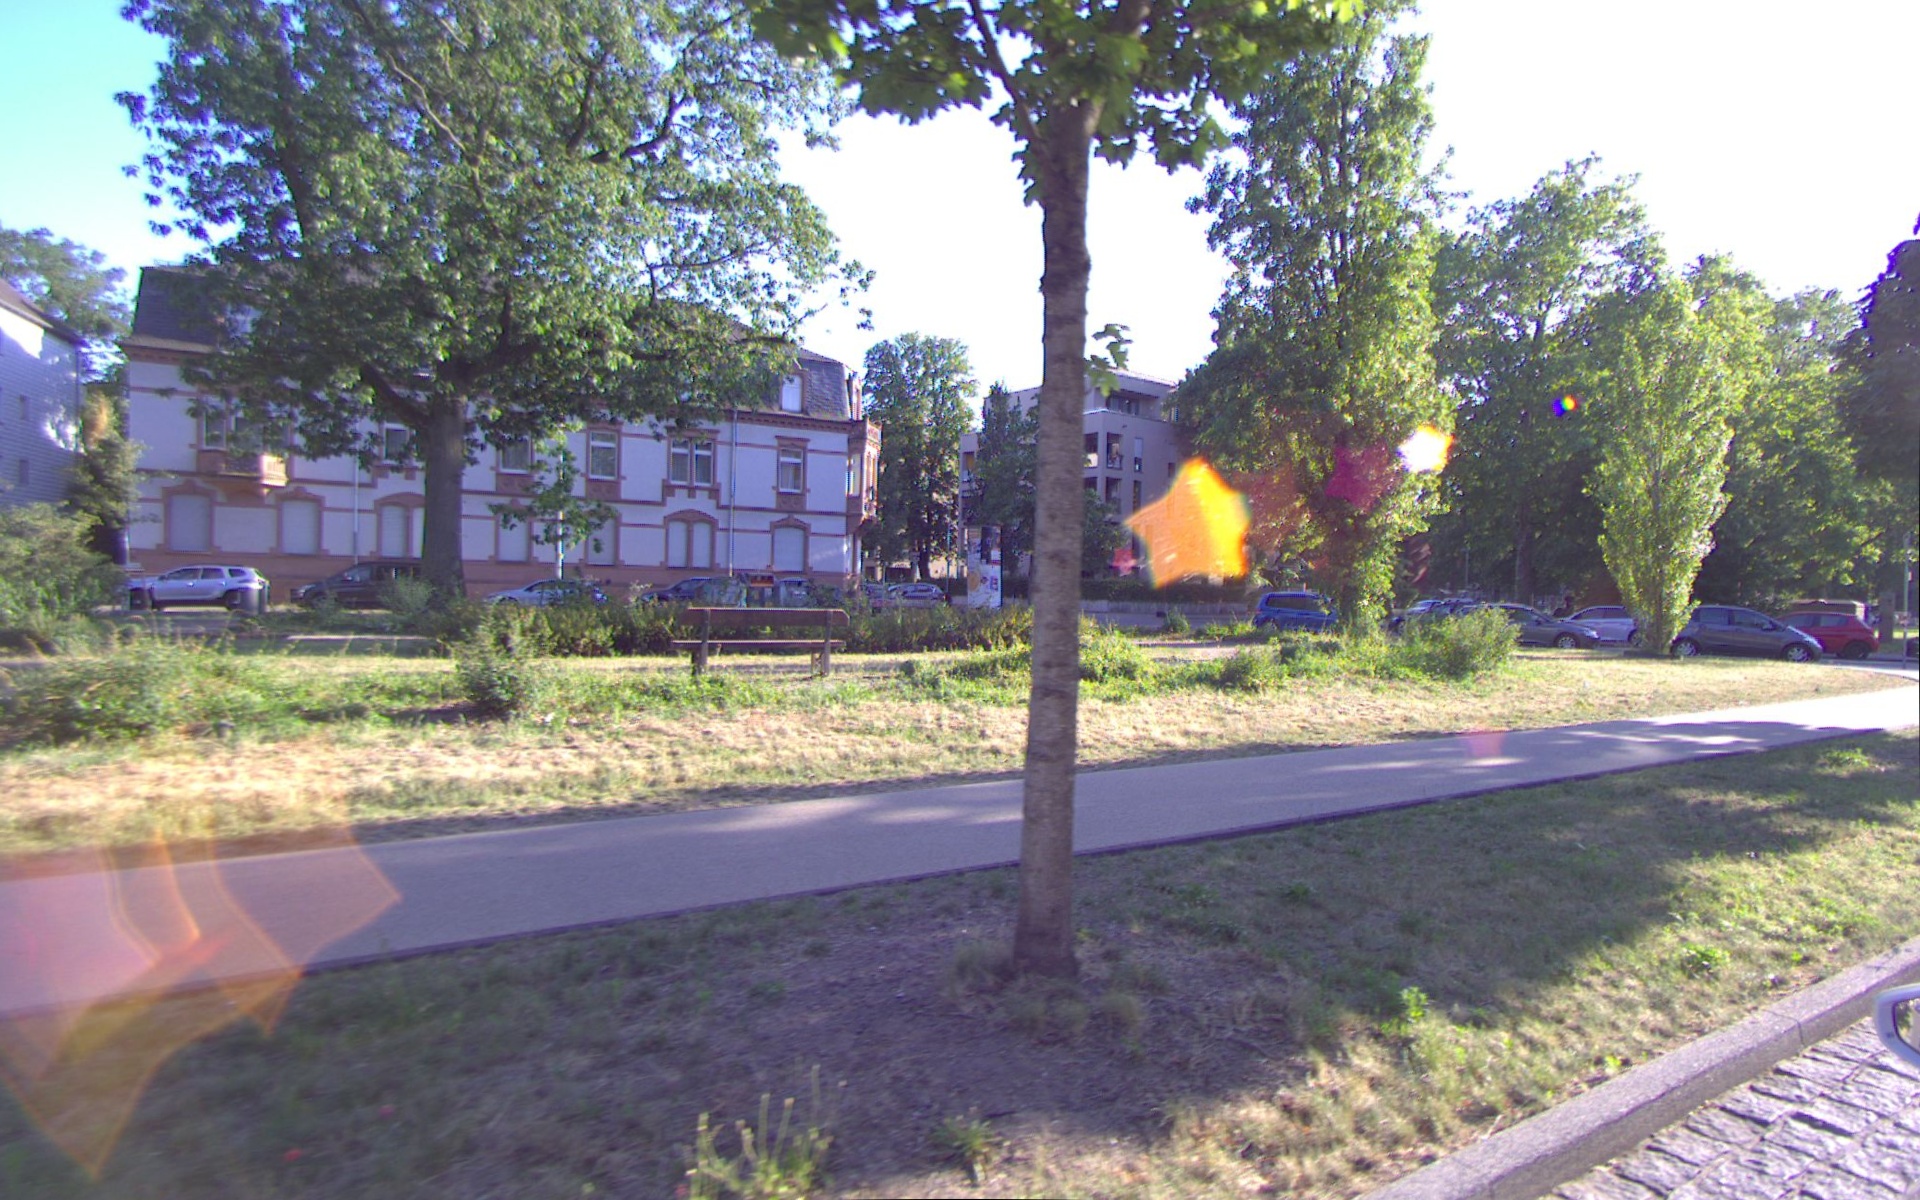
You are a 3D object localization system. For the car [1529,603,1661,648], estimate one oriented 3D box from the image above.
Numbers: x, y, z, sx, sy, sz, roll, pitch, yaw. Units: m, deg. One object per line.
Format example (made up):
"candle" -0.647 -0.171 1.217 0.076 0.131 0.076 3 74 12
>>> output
"car" 23.109 0.891 36.599 3.934 1.439 1.765 2 1 36

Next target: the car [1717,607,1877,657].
"car" 27.711 1.017 33.442 3.859 1.439 1.766 2 1 34

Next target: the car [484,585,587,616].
"car" -16.640 0.036 39.393 3.616 1.134 1.460 1 1 -29

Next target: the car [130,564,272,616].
"car" -26.064 -0.346 34.627 3.720 1.692 1.316 1 1 -28

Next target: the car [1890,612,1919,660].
"car" 31.474 1.174 30.835 3.929 1.439 1.768 2 1 30

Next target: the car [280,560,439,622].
"car" -21.784 -0.307 36.662 4.894 2.120 1.413 1 1 -29

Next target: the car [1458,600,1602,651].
"car" 18.415 0.790 32.508 3.931 1.439 1.767 2 1 33

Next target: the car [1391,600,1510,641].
"car" 19.174 0.767 39.343 3.934 1.439 1.765 2 1 36

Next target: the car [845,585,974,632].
"car" -1.342 0.231 26.717 3.057 1.175 1.522 1 1 -27

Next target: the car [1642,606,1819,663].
"car" 22.637 0.962 29.724 3.930 1.439 1.768 2 1 31

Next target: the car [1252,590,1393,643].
"car" 13.087 0.555 36.396 4.471 1.708 1.765 2 1 37

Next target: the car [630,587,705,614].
"car" -12.195 0.017 41.893 2.852 1.038 1.316 1 1 -27
